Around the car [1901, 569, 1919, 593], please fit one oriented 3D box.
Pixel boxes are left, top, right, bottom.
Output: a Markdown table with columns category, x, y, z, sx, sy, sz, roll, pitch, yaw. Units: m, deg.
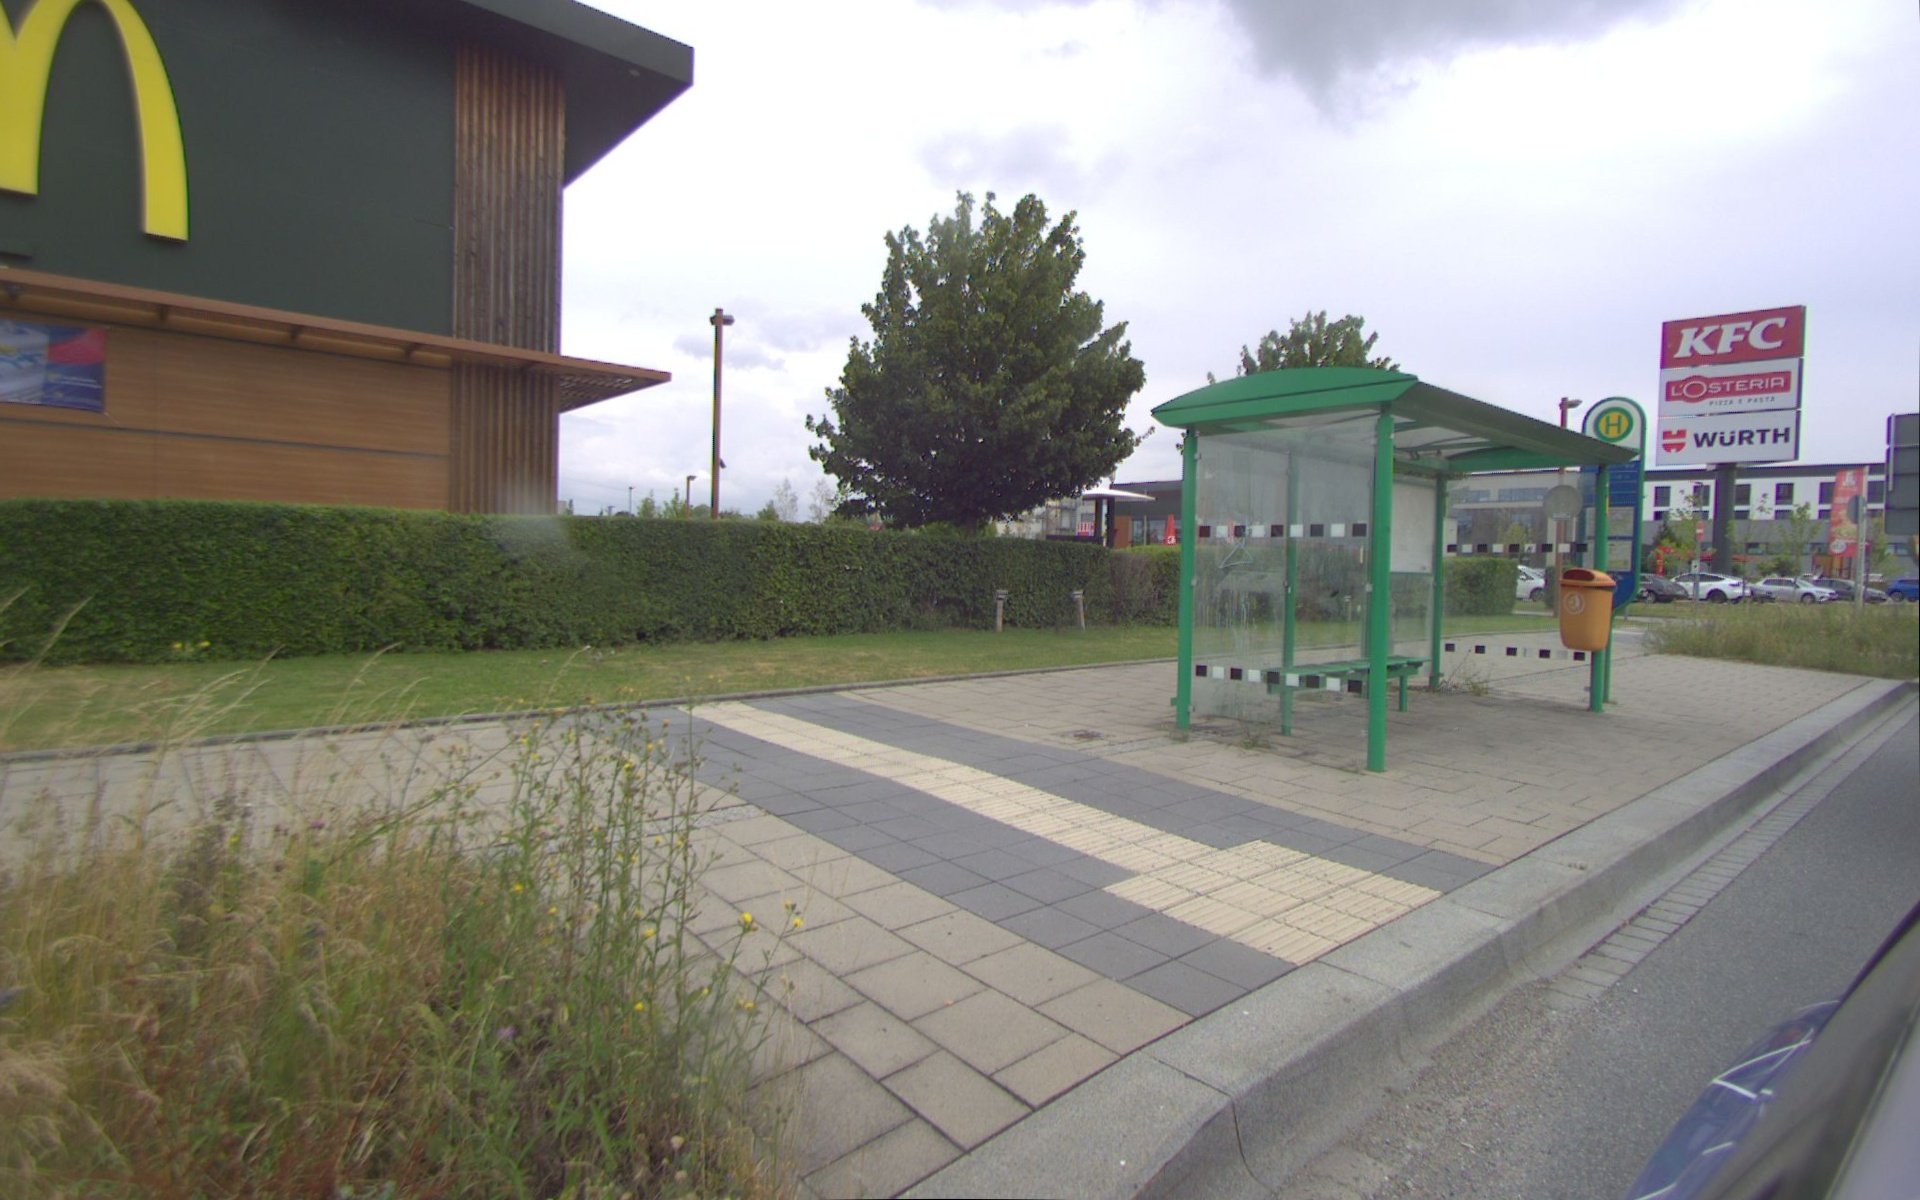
| category | x | y | z | sx | sy | sz | roll | pitch | yaw |
| --- | --- | --- | --- | --- | --- | --- | --- | --- | --- |
| car | 61.291 | -1.204 | 62.668 | 1.809 | 1.504 | 4.008 | -1 | 1 | -24 |

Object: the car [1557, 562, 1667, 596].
| category | x | y | z | sx | sy | sz | roll | pitch | yaw |
| --- | --- | --- | --- | --- | --- | --- | --- | --- | --- |
| car | 31.010 | -1.021 | 48.260 | 1.811 | 1.504 | 4.003 | 0 | 2 | -32 |

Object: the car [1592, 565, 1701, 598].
| category | x | y | z | sx | sy | sz | roll | pitch | yaw |
| --- | --- | --- | --- | --- | --- | --- | --- | --- | --- |
| car | 33.509 | -0.938 | 49.464 | 1.811 | 1.504 | 4.003 | 0 | 2 | -32 |

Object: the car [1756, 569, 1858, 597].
| category | x | y | z | sx | sy | sz | roll | pitch | yaw |
| --- | --- | --- | --- | --- | --- | --- | --- | --- | --- |
| car | 48.000 | -0.979 | 57.421 | 1.810 | 1.504 | 4.007 | 0 | 2 | -28 |

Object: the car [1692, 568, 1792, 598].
| category | x | y | z | sx | sy | sz | roll | pitch | yaw |
| --- | --- | --- | --- | --- | --- | --- | --- | --- | --- |
| car | 43.281 | -0.962 | 56.090 | 1.811 | 1.504 | 4.003 | 0 | 2 | -33 |

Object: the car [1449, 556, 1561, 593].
| category | x | y | z | sx | sy | sz | roll | pitch | yaw |
| --- | --- | --- | --- | --- | --- | --- | --- | --- | --- |
| car | 24.158 | -1.169 | 44.936 | 1.814 | 1.546 | 3.996 | -1 | 3 | -40 |

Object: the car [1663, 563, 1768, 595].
| category | x | y | z | sx | sy | sz | roll | pitch | yaw |
| --- | --- | --- | --- | --- | --- | --- | --- | --- | --- |
| car | 39.366 | -1.114 | 52.803 | 1.811 | 1.541 | 4.003 | 0 | 2 | -32 |

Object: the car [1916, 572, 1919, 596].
| category | x | y | z | sx | sy | sz | roll | pitch | yaw |
| --- | --- | --- | --- | --- | --- | --- | --- | --- | --- |
| car | 63.483 | -1.010 | 64.015 | 1.809 | 1.504 | 4.008 | -1 | 1 | -24 |

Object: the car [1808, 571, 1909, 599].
| category | x | y | z | sx | sy | sz | roll | pitch | yaw |
| --- | --- | --- | --- | --- | --- | --- | --- | --- | --- |
| car | 52.393 | -0.900 | 59.090 | 1.810 | 1.504 | 4.007 | 0 | 2 | -28 |
